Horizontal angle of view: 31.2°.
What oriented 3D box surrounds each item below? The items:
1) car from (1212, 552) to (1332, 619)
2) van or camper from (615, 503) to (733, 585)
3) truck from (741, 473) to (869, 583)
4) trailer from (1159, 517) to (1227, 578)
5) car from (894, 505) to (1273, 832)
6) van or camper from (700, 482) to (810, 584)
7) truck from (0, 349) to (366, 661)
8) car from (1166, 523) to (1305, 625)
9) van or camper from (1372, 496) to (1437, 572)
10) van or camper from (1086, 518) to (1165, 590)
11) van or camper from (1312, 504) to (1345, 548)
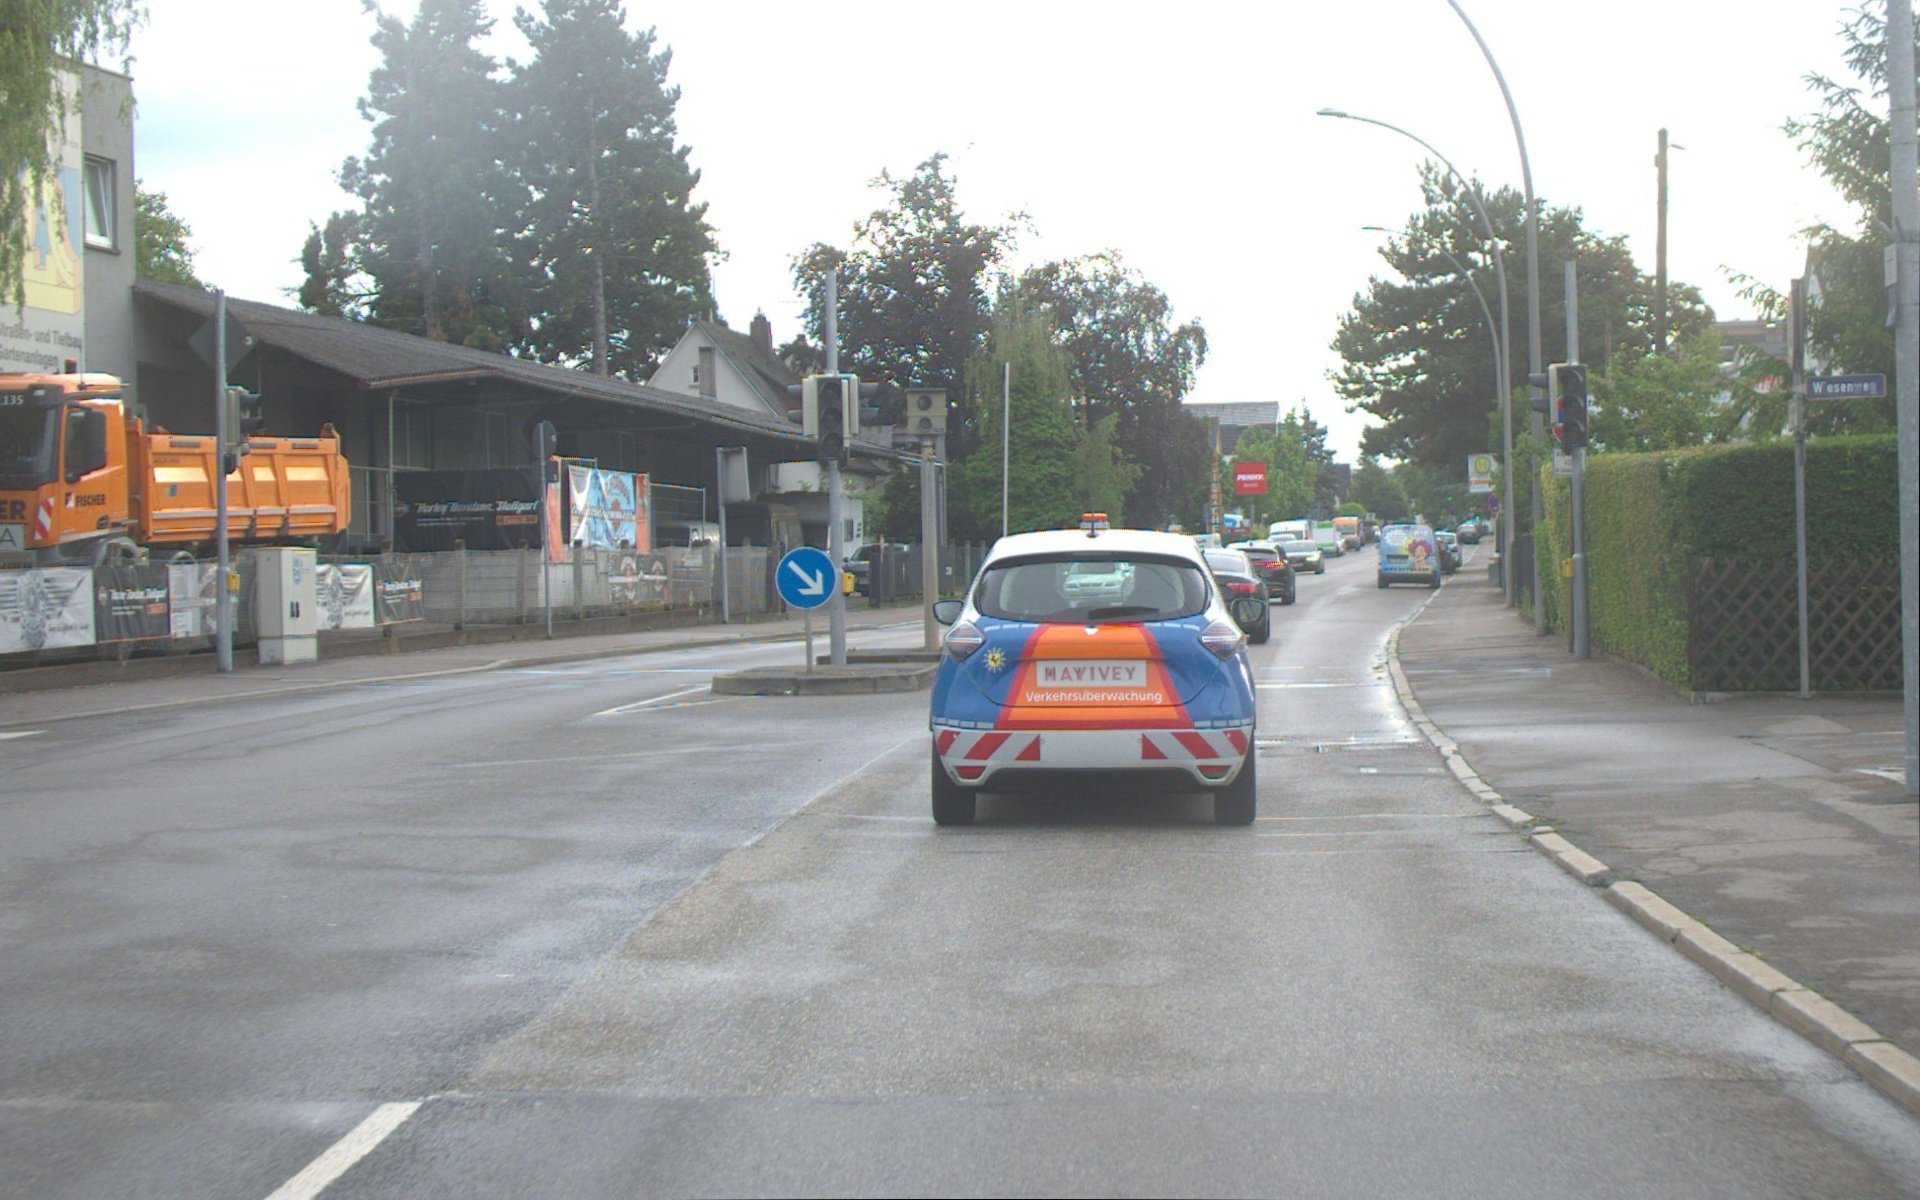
[{"bbox_3d":[7.137,-0.313,78.316,1.995,1.415,3.997,1,-1,16],"label":"car"},{"bbox_3d":[-6.922,-1.352,83.574,1.994,1.902,4.471,1,1,6],"label":"van or camper"},{"bbox_3d":[-4.275,-1.960,95.917,2.395,2.917,5.955,1,0,9],"label":"truck"},{"bbox_3d":[8.917,-2.016,131.232,2.221,2.006,4.436,-4,3,7],"label":"trailer"},{"bbox_3d":[0.714,0.309,19.434,1.889,1.626,4.000,-1,1,3],"label":"car"},{"bbox_3d":[-5.345,-1.726,90.295,1.859,2.429,5.232,2,-1,7],"label":"van or camper"},{"bbox_3d":[-10.265,-0.991,42.239,2.699,3.400,9.067,1,-1,11],"label":"truck"},{"bbox_3d":[3.969,-0.349,50.057,1.720,1.371,3.933,1,-1,1],"label":"car"},{"bbox_3d":[13.138,-1.929,101.677,1.755,1.877,3.998,3,-2,7],"label":"van or camper"},{"bbox_3d":[5.089,-1.384,104.889,1.891,2.007,5.095,1,-1,8],"label":"van or camper"},{"bbox_3d":[24.146,-4.844,225.023,1.994,2.765,5.439,-1,1,7],"label":"van or camper"}]
